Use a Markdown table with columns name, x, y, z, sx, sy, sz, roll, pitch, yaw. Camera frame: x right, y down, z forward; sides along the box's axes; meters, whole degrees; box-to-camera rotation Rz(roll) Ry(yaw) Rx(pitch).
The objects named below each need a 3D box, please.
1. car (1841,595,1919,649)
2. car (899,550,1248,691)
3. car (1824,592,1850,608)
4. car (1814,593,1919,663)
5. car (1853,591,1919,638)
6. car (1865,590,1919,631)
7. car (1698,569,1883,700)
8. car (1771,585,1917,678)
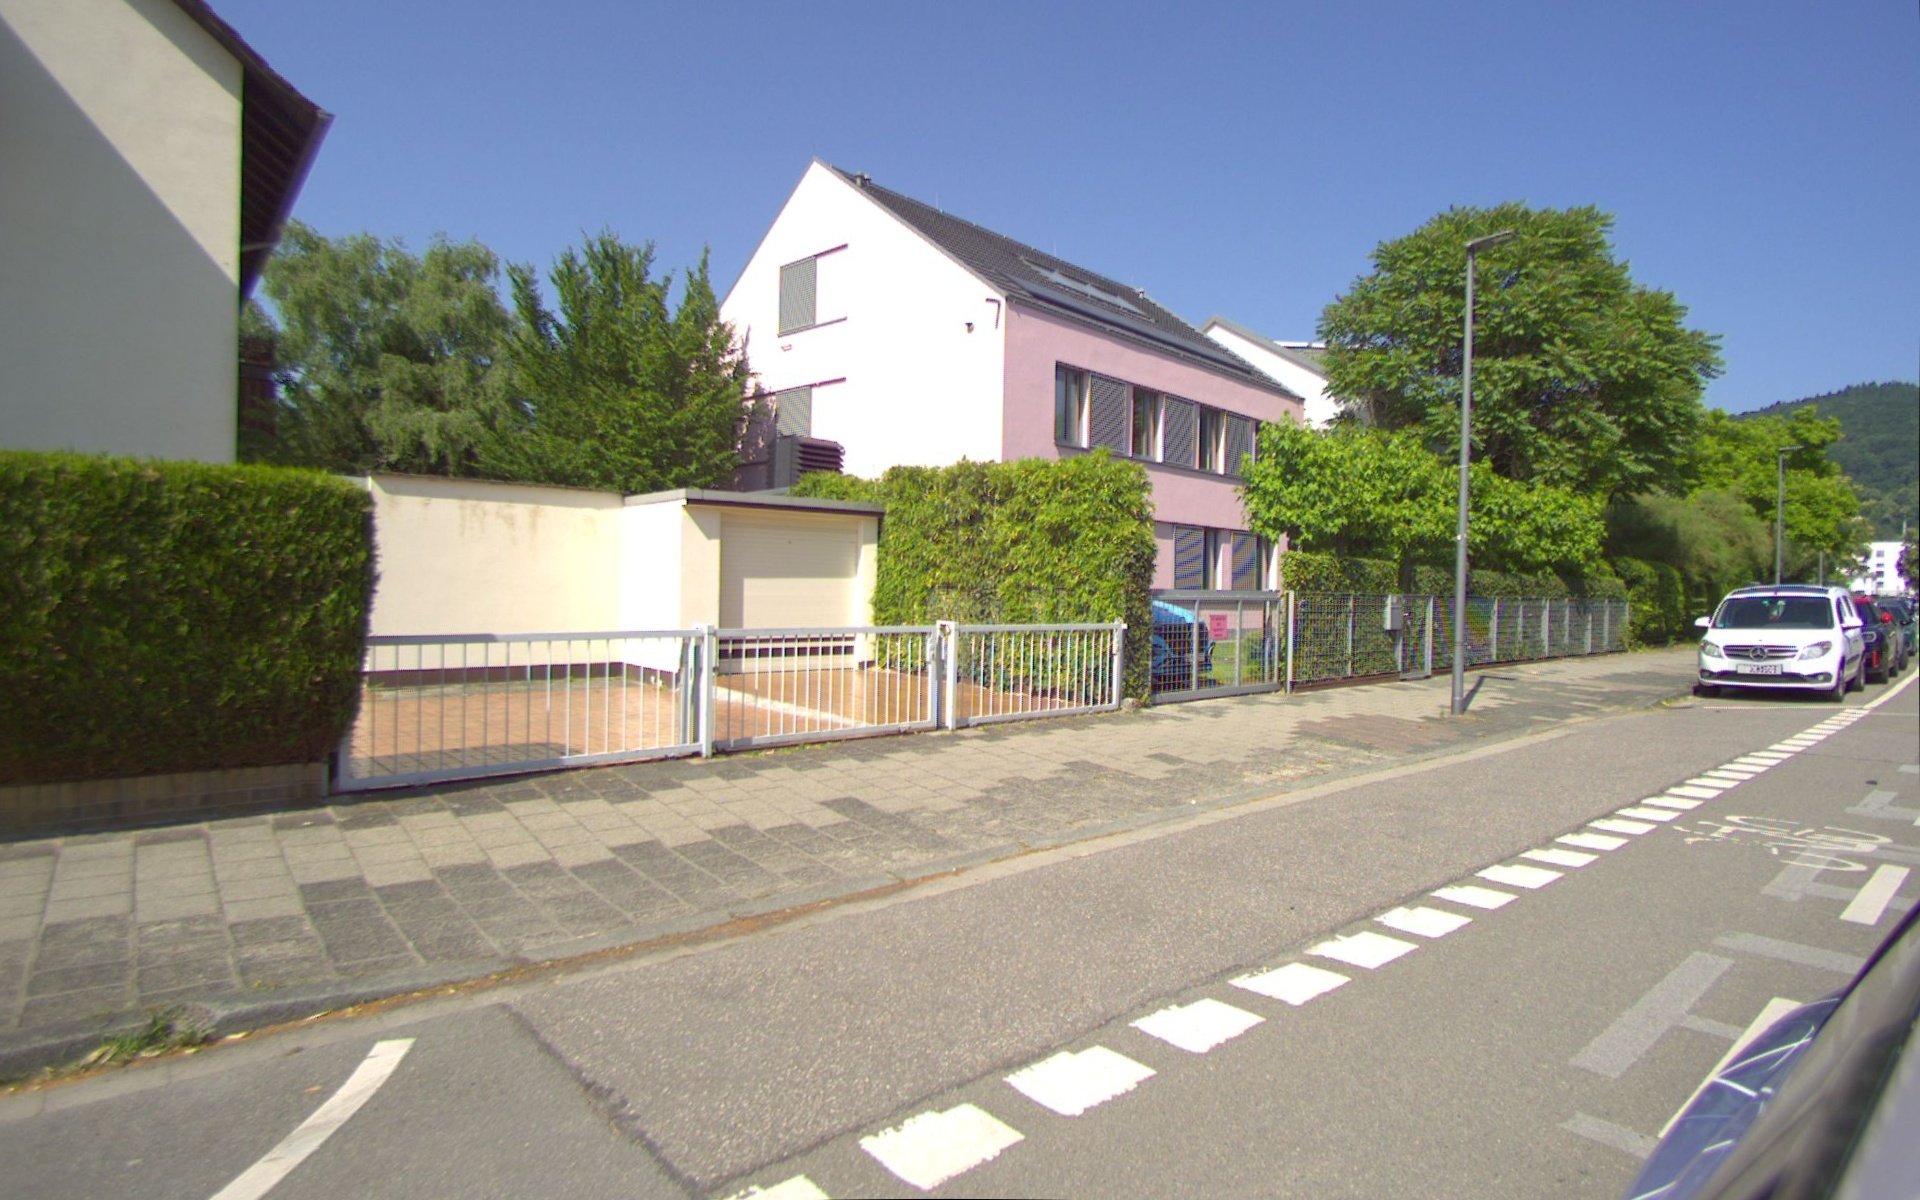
| name | x | y | z | sx | sy | sz | roll | pitch | yaw |
| --- | --- | --- | --- | --- | --- | --- | --- | --- | --- |
| car | 27.264 | 0.626 | 29.650 | 4.709 | 1.482 | 1.813 | 1 | -2 | -45 |
| car | 1.467 | 0.207 | 14.921 | 1.945 | 1.727 | 5.092 | 0 | 1 | -43 |
| car | 102.949 | -0.010 | 118.806 | 1.988 | 1.727 | 3.948 | 1 | 1 | 36 |
| car | 21.486 | 0.608 | 23.961 | 1.762 | 1.461 | 4.006 | 3 | 2 | 42 |
| car | 33.962 | 0.517 | 36.989 | 1.811 | 1.579 | 3.855 | -4 | -3 | 43 |
| car | 37.863 | 0.438 | 40.870 | 1.811 | 1.579 | 4.527 | -2 | -1 | 44 |
| car | 13.637 | 0.465 | 16.510 | 4.522 | 1.850 | 1.763 | -1 | 0 | -44 |
| car | 17.542 | 0.561 | 20.013 | 4.241 | 1.613 | 1.764 | 1 | 1 | -43 |
